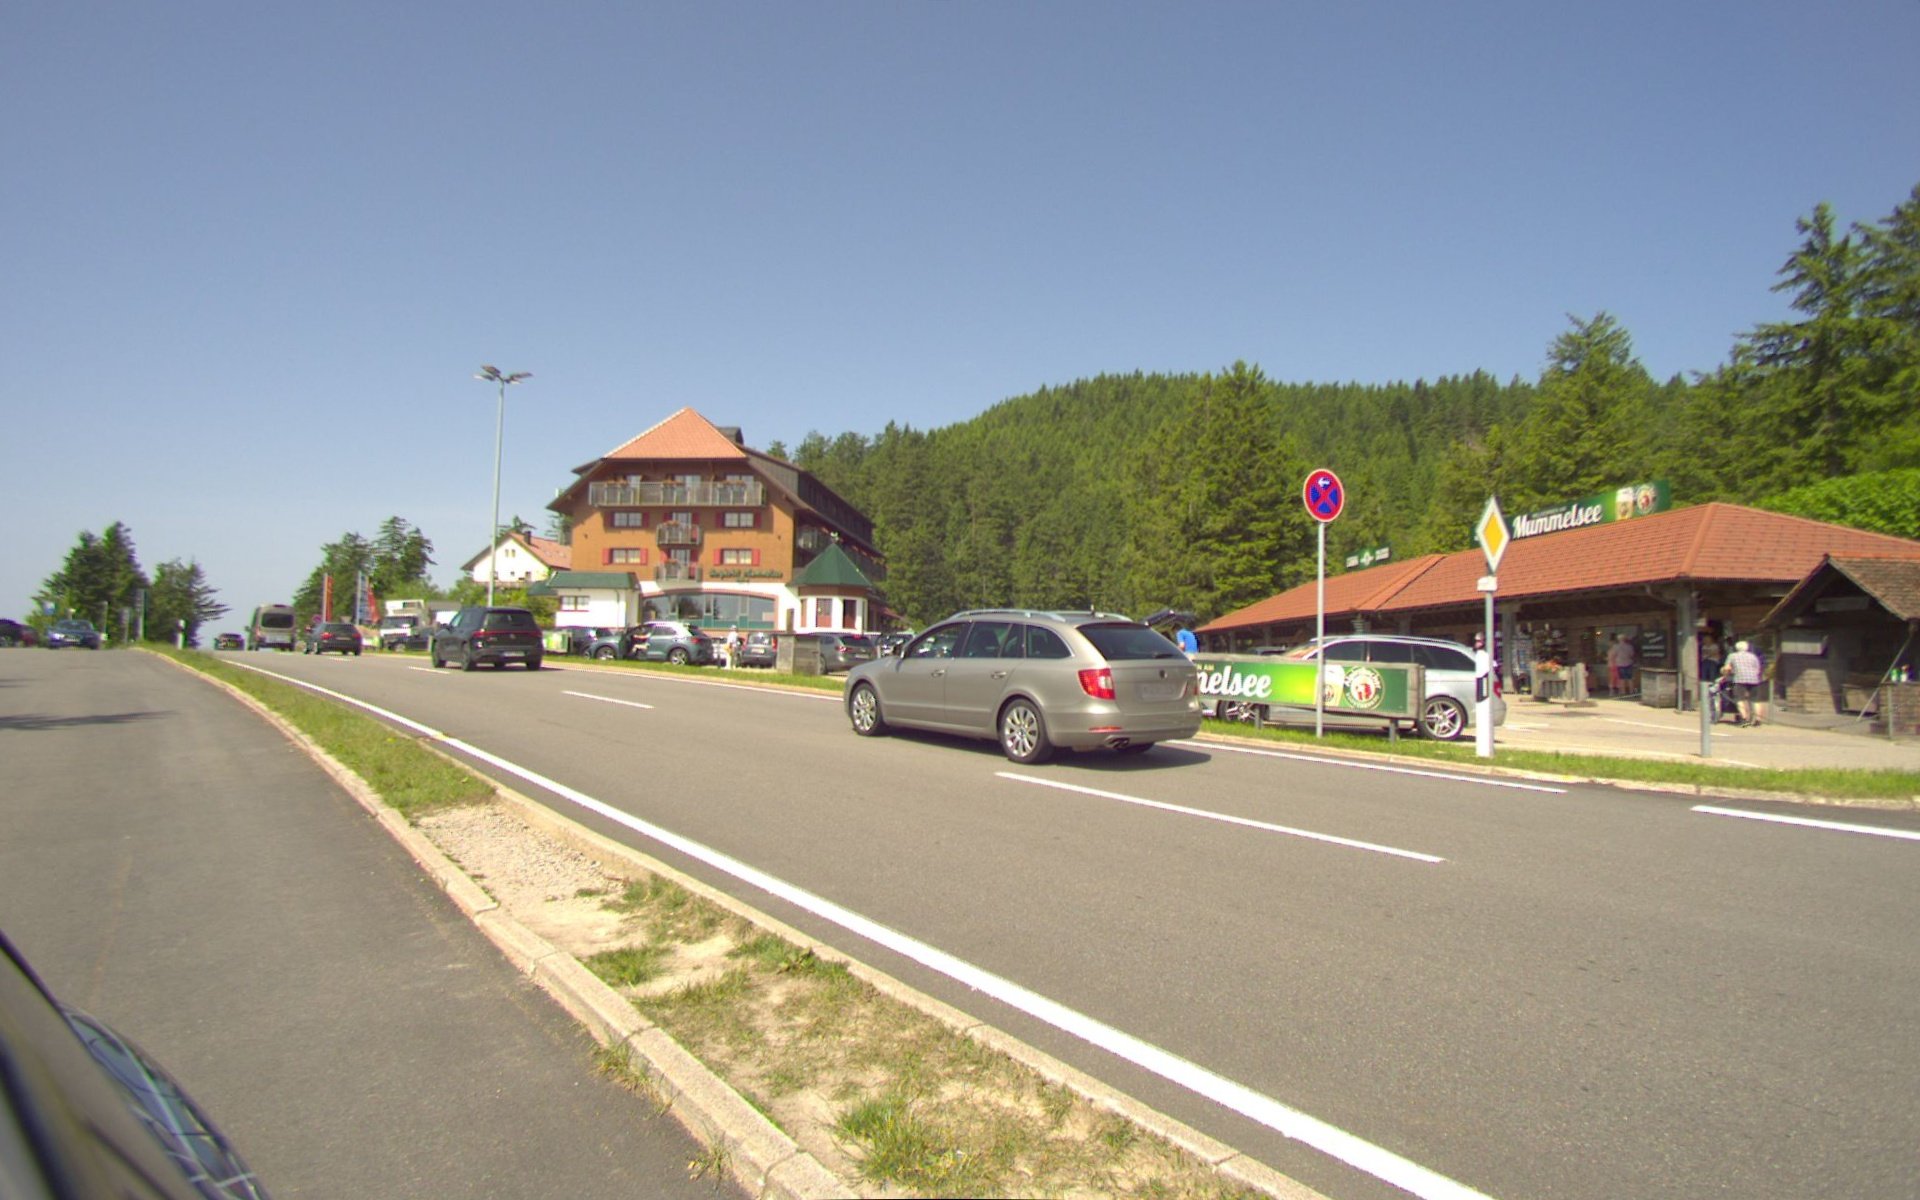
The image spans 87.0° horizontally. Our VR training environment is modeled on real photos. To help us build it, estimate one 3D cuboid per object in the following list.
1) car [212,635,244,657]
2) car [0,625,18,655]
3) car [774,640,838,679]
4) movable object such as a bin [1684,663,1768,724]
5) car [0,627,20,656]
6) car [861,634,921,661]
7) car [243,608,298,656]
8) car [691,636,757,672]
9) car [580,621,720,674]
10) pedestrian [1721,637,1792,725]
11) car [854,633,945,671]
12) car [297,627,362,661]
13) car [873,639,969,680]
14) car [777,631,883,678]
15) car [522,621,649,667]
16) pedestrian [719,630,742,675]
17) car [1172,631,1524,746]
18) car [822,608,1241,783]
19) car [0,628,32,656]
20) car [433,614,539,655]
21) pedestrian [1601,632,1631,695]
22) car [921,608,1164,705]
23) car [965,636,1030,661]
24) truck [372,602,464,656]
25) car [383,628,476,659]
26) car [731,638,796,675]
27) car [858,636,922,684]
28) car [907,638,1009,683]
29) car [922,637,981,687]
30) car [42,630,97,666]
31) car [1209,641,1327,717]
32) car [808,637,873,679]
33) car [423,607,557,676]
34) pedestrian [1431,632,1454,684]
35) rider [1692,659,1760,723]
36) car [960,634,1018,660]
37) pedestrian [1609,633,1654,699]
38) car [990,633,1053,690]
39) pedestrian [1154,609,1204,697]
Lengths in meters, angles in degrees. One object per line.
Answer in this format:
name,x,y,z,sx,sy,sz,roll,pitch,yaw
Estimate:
car,-60.040,3.764,83.023,1.695,1.695,4.136,3,-3,-41
car,-54.870,2.193,55.963,3.850,1.627,1.880,3,-3,-39
car,-6.481,2.503,42.903,1.800,1.524,4.089,1,-2,4
movable object such as a bin,16.248,1.957,21.498,0.974,1.198,1.212,1,-2,12
car,-56.592,2.335,57.926,3.850,1.627,1.880,3,-3,-39
car,-4.873,3.365,71.820,4.041,1.729,1.918,2,-2,3
car,-41.931,1.944,61.497,1.986,2.772,5.925,3,-3,-41
car,-10.707,2.453,46.250,1.800,1.524,4.089,1,-2,4
car,-10.559,1.635,34.673,4.213,1.641,1.823,2,-2,2
pedestrian,16.098,1.623,20.476,0.831,1.712,0.800,1,-2,12
car,-2.755,2.395,46.786,4.039,1.641,1.823,2,-2,2
car,-28.211,1.946,45.217,1.685,1.449,4.455,3,-3,-42
car,-1.665,2.563,43.918,4.039,1.641,1.823,2,-2,2
car,-4.385,1.785,33.696,1.694,1.441,4.008,4,-3,-37
car,-14.581,1.721,39.550,4.213,1.641,1.823,2,-2,2
pedestrian,-8.441,1.927,37.238,0.734,1.637,0.685,2,-2,-11
car,5.506,1.244,14.781,4.443,1.441,1.720,2,-2,3
car,0.519,0.856,11.046,1.855,1.485,4.723,1,-1,-39
car,-58.924,2.531,61.272,3.850,1.627,1.880,3,-3,-39
car,-34.744,2.580,74.437,6.844,2.812,2.675,2,-3,-23
pedestrian,18.476,1.782,28.508,0.662,1.750,0.556,3,-3,-44
car,1.538,1.094,19.729,4.489,1.668,1.721,2,-3,1
car,2.820,3.643,76.392,4.782,1.729,1.918,2,-2,3
truck,-41.639,2.276,78.156,2.841,3.850,9.024,-1,-2,-4
car,-28.608,2.369,54.691,4.035,1.539,1.825,2,-2,-2
car,-8.609,2.469,44.740,1.800,1.524,4.089,1,-2,4
car,-2.556,2.210,37.934,1.800,1.641,4.089,1,-2,4
car,-0.064,2.449,41.218,4.039,1.641,1.823,2,-2,2
car,-0.259,2.210,36.503,1.800,1.641,4.089,1,-2,4
car,-42.136,2.262,47.926,1.847,1.627,3.918,3,-3,-41
car,7.797,1.959,26.007,1.895,1.729,4.091,2,-2,2
car,-4.650,2.275,39.978,1.800,1.524,4.089,1,-2,4
car,-12.493,1.082,26.758,1.969,1.660,4.573,3,-3,-41
pedestrian,15.780,1.894,33.085,0.500,1.668,0.472,1,-2,-7
rider,16.218,1.920,21.452,0.831,1.284,0.905,1,-2,12
car,2.067,3.353,72.365,4.041,1.729,1.918,2,-2,3
pedestrian,18.326,1.781,27.633,0.741,1.750,0.800,1,-2,12
car,1.980,1.997,33.476,1.895,1.729,4.092,2,-2,2
pedestrian,4.223,1.025,19.564,0.735,1.648,0.847,1,-2,-1
